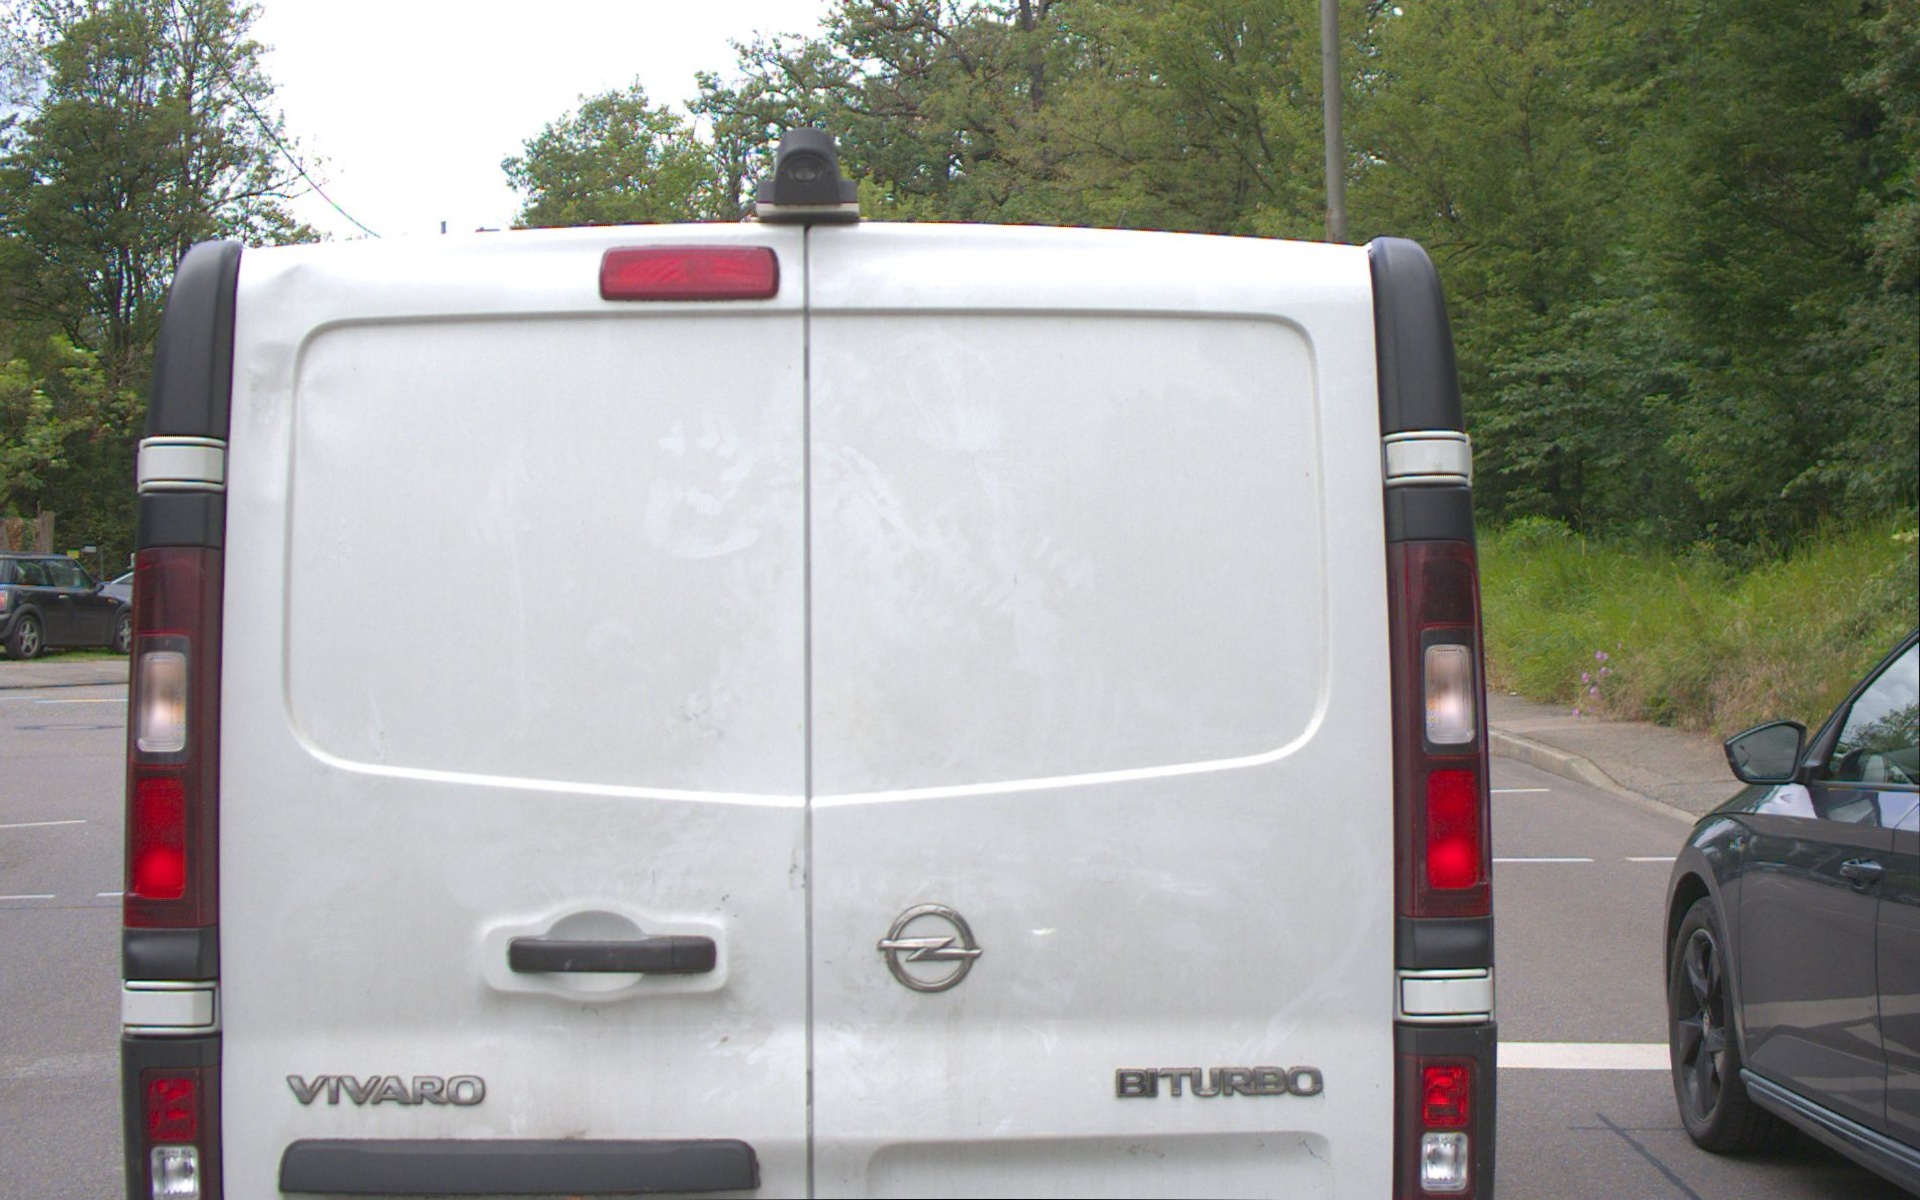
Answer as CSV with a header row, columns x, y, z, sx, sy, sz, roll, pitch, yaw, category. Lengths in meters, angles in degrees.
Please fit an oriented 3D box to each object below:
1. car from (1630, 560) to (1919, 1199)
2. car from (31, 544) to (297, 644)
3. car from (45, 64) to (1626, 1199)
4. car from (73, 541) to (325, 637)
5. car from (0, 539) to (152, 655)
x,y,z,sx,sy,sz,roll,pitch,yaw,category
2.691,0.660,6.917,1.792,1.445,4.001,0,1,-2,car
-12.973,-0.118,56.019,4.085,1.548,1.855,-1,2,-17,car
-0.265,0.343,6.543,1.916,2.046,4.615,1,1,-3,car
-13.112,-0.210,59.191,4.085,1.548,1.855,-1,2,-17,car
-12.498,-0.064,45.780,1.699,1.444,3.540,2,1,19,car
